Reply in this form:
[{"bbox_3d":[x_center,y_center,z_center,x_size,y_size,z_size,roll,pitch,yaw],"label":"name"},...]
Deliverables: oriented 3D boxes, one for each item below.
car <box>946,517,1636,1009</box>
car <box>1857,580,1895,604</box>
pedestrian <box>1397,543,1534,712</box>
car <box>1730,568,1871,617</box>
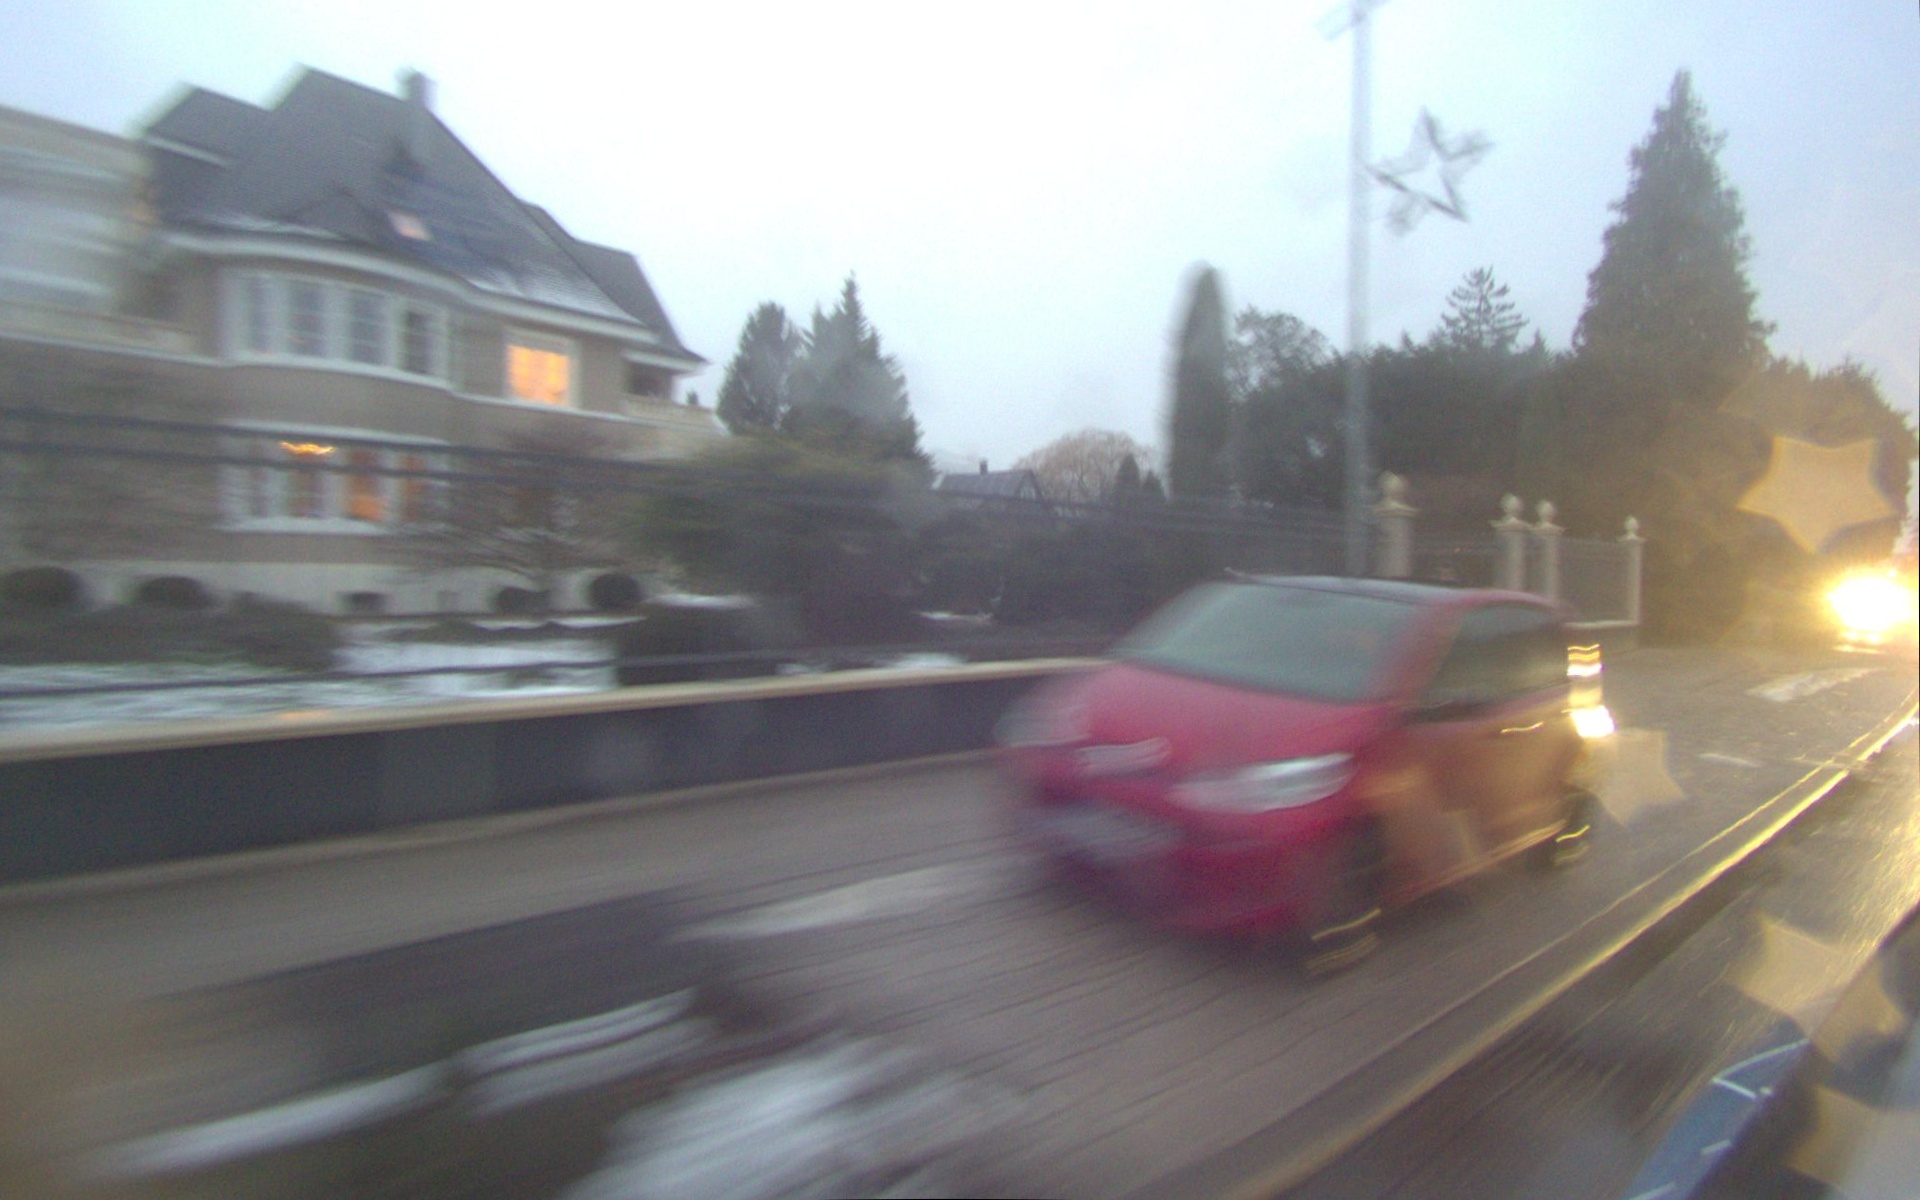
[{"bbox_3d":[1.769,0.489,4.976,3.331,1.558,1.653,0,4,-41],"label":"car"},{"bbox_3d":[63.713,-0.569,70.450,1.768,1.638,3.818,0,1,39],"label":"car"},{"bbox_3d":[5.633,0.265,11.289,1.037,1.763,0.990,-1,3,-40],"label":"pedestrian"},{"bbox_3d":[34.671,-0.342,41.922,4.315,1.753,1.973,4,3,38],"label":"car"}]
